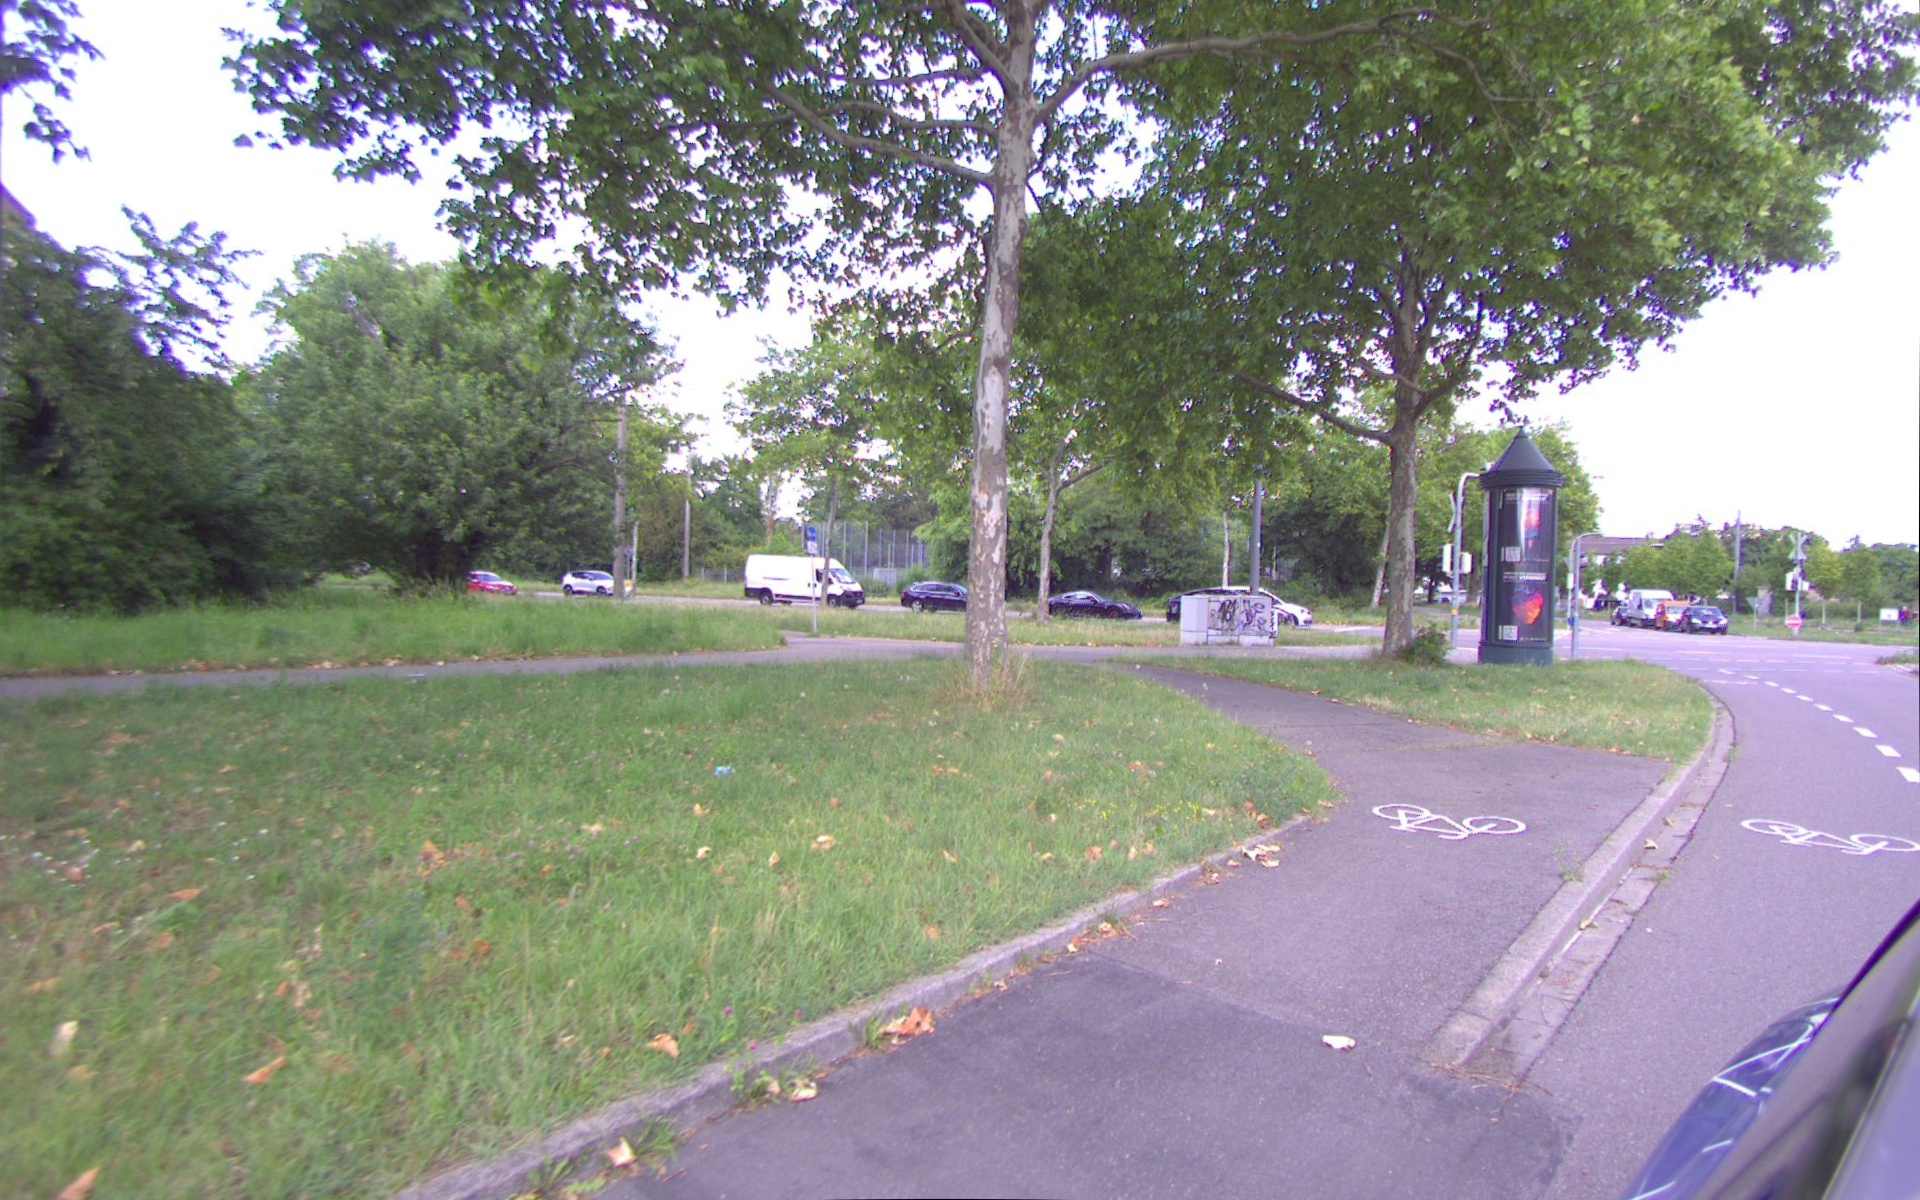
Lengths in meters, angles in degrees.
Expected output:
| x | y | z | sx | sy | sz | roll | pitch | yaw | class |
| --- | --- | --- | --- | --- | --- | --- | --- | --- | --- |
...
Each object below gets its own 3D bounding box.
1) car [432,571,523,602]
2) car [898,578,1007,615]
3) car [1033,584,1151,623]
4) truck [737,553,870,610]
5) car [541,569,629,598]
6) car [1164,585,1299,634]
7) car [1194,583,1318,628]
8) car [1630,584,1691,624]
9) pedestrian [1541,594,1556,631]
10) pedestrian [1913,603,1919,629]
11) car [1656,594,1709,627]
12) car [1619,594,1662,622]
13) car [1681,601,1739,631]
| x | y | z | sx | sy | sz | roll | pitch | yaw | class |
| --- | --- | --- | --- | --- | --- | --- | --- | --- | --- |
| -26.513 | -0.766 | 55.577 | 4.635 | 1.532 | 1.984 | 2 | 2 | 24 | car |
| -0.365 | -0.203 | 46.696 | 4.635 | 1.532 | 1.984 | 2 | 2 | 24 | car |
| 5.693 | 0.131 | 43.758 | 4.697 | 1.487 | 1.984 | 2 | 2 | 24 | car |
| -7.843 | -0.963 | 50.558 | 6.440 | 2.628 | 2.198 | 2 | 1 | 25 | truck |
| -21.387 | -0.952 | 57.714 | 4.635 | 1.532 | 1.984 | 2 | 2 | 24 | car |
| 10.193 | 0.302 | 38.006 | 4.637 | 1.630 | 1.984 | 2 | 2 | 24 | car |
| 12.069 | 0.174 | 41.247 | 4.635 | 1.630 | 1.984 | 2 | 2 | 24 | car |
| 47.174 | 0.265 | 68.294 | 2.215 | 2.538 | 5.681 | 1 | 1 | 23 | car |
| 24.557 | 0.501 | 42.237 | 0.414 | 1.527 | 0.448 | 2 | 0 | 22 | pedestrian |
| 72.006 | 1.211 | 75.567 | 0.897 | 1.891 | 0.995 | 2 | 0 | 21 | pedestrian |
| 44.480 | 0.606 | 62.387 | 1.777 | 1.959 | 4.332 | 1 | 1 | 24 | car |
| 49.384 | 0.563 | 73.536 | 1.776 | 1.959 | 4.333 | 1 | 1 | 23 | car |
| 42.059 | 0.846 | 56.839 | 1.777 | 1.558 | 3.966 | 1 | 1 | 25 | car |
